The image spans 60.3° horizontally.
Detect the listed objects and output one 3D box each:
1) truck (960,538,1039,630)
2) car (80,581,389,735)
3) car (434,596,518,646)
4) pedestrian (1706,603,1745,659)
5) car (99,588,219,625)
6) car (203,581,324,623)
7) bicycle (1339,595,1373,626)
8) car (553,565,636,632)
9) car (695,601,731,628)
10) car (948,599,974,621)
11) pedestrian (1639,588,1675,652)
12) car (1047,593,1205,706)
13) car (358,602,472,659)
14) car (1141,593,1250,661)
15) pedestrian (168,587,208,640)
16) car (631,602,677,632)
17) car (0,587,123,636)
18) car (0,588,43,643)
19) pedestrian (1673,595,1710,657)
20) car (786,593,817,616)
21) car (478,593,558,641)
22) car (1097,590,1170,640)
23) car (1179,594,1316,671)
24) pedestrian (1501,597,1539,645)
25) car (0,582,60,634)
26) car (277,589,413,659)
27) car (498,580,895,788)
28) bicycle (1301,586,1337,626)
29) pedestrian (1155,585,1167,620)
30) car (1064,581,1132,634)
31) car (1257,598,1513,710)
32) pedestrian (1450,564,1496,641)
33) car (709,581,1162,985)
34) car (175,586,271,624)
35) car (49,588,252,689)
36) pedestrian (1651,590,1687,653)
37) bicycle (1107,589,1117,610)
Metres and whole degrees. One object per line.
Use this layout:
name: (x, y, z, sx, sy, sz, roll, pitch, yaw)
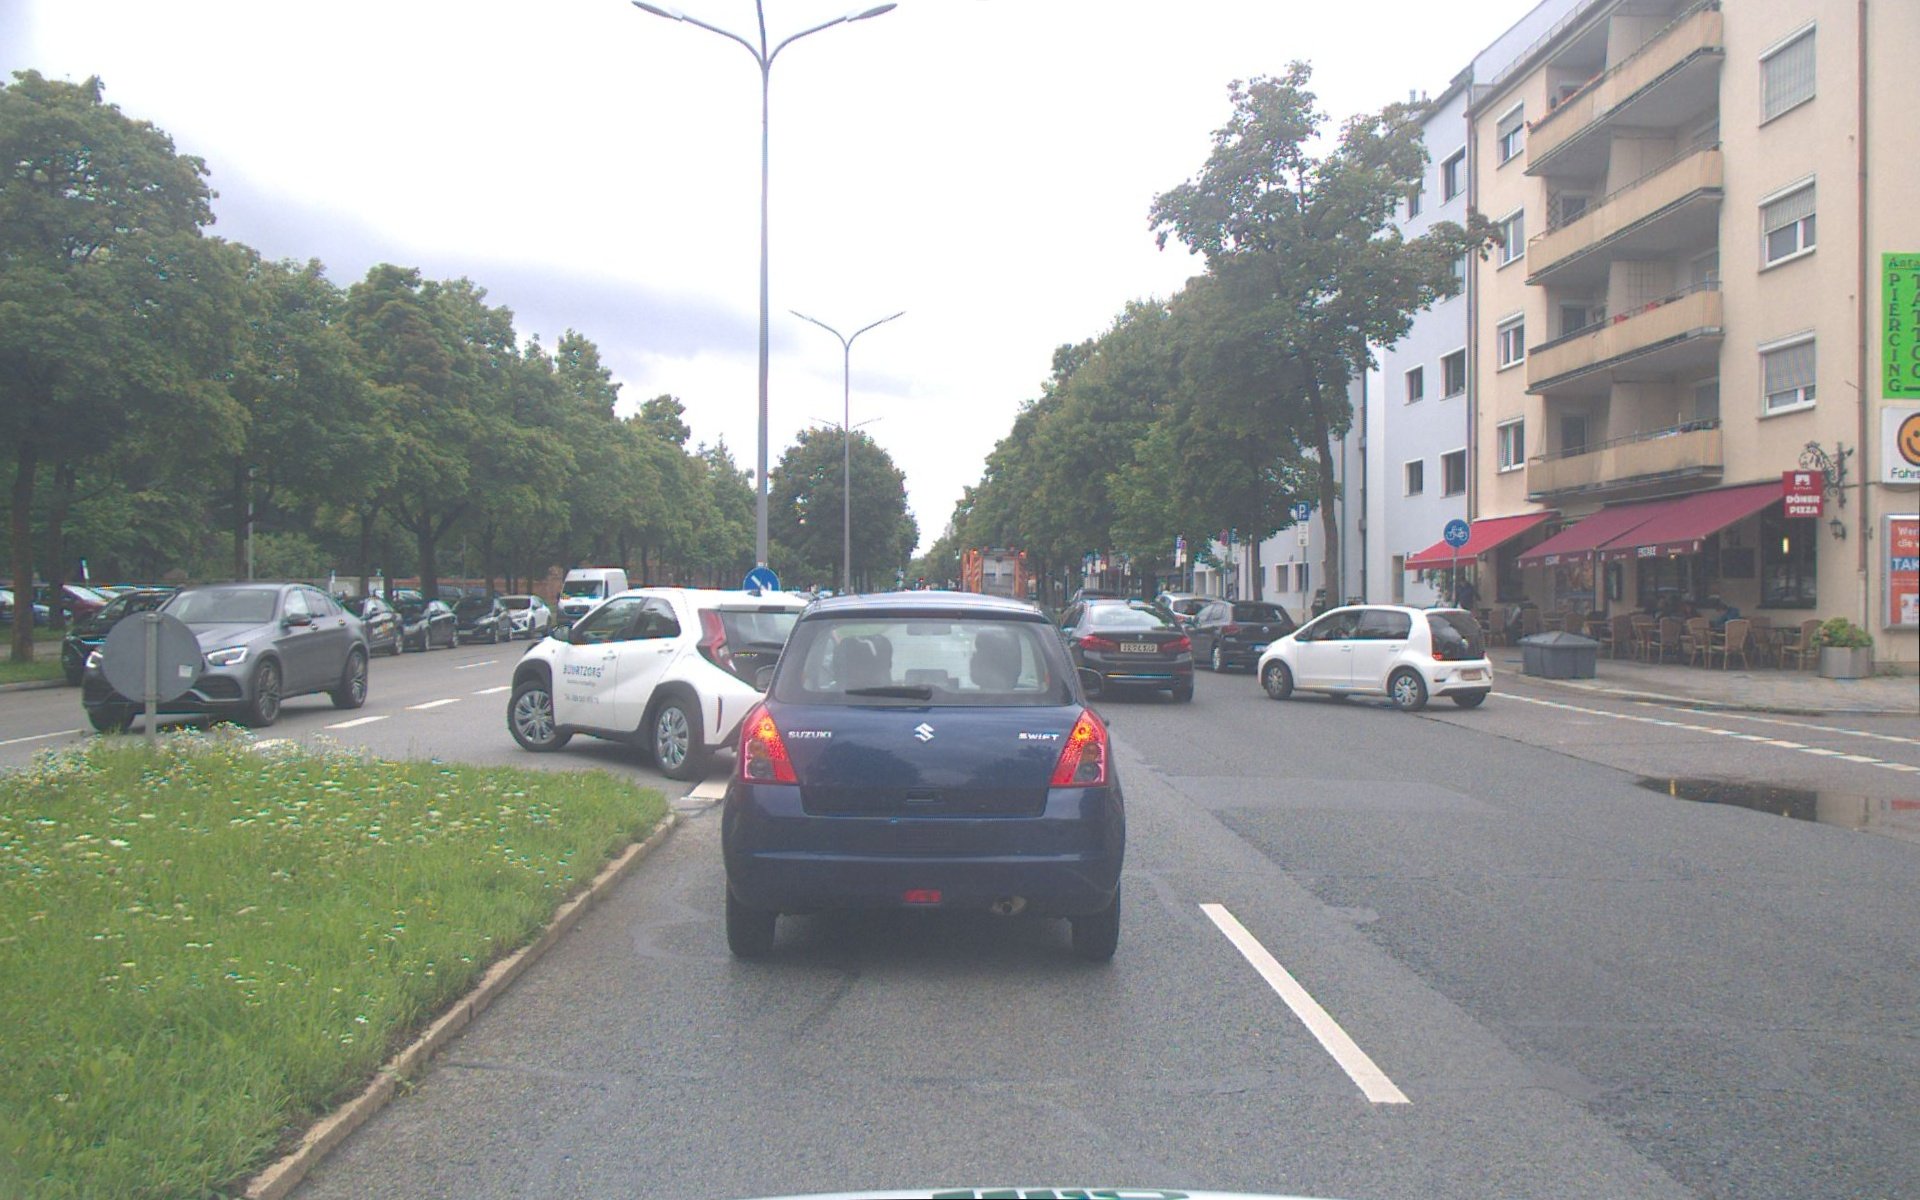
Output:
truck: (1.561, -0.663, 72.376, 2.979, 3.619, 13.672, 0, 0, -1)
car: (-8.457, 0.587, 19.760, 1.784, 1.617, 4.500, 0, 1, -1)
car: (-15.329, 0.623, 52.562, 1.786, 1.473, 3.995, -1, 0, -6)
pedestrian: (14.668, 0.592, 31.691, 0.527, 1.072, 0.487, 0, 0, -1)
car: (-32.360, 0.246, 66.947, 3.911, 1.467, 1.997, 0, 0, -7)
car: (-26.945, 0.090, 64.023, 3.905, 1.598, 1.814, 0, 0, 0)
bicycle: (13.740, 0.352, 57.389, 0.609, 1.065, 2.195, 0, 0, -1)
car: (-15.781, -0.108, 71.791, 2.096, 2.690, 7.104, -1, 1, -1)
car: (-15.940, 0.928, 106.852, 1.849, 1.564, 4.312, -2, 0, -3)
car: (0.034, 0.731, 119.818, 1.792, 1.549, 3.770, 0, 0, -1)
pedestrian: (14.823, 0.418, 35.173, 0.527, 1.362, 0.552, 0, 0, -3)
car: (2.432, 0.672, 25.330, 1.785, 1.503, 4.689, 2, 0, -2)
car: (-15.189, 0.816, 46.273, 1.784, 1.434, 4.000, -2, 0, 1)
car: (5.601, 0.602, 39.852, 1.793, 1.549, 4.521, 0, 0, -3)
pedestrian: (-22.462, 0.374, 48.144, 0.778, 1.521, 0.856, 0, 0, -1)
car: (-16.086, 0.897, 87.225, 1.820, 1.517, 4.140, 0, -1, -3)
car: (-28.105, 0.341, 50.701, 3.911, 1.467, 1.997, 0, 0, -7)
car: (-27.695, 0.394, 45.260, 4.053, 1.467, 1.999, 0, 0, -4)
pedestrian: (14.710, 0.516, 33.254, 0.527, 1.235, 0.487, 0, 0, -1)
car: (-10.889, 0.298, 113.946, 1.779, 1.473, 4.780, -1, 0, -2)
car: (-15.392, 0.592, 57.765, 1.785, 1.554, 4.296, -2, -1, -3)
car: (5.526, 0.465, 53.215, 1.793, 1.549, 3.769, 0, 0, -3)
car: (5.871, 0.627, 34.212, 1.794, 1.498, 3.883, 0, 0, -6)
pedestrian: (13.952, 0.527, 41.224, 0.728, 1.183, 0.646, 0, 0, -2)
car: (-28.426, 0.202, 47.642, 3.911, 1.467, 1.997, 0, 0, -7)
car: (-14.942, 0.556, 40.431, 1.784, 1.627, 4.112, 0, 0, 0)
car: (-2.409, 0.622, 14.517, 1.811, 1.580, 3.666, 0, 0, -41)
bicycle: (13.419, 0.213, 61.868, 0.688, 1.432, 2.592, -2, 0, -1)
pedestrian: (10.304, 0.122, 84.776, 0.489, 1.763, 0.732, -1, 0, -1)
car: (4.768, 0.229, 57.562, 1.793, 1.776, 4.506, 0, 0, -3)
car: (6.235, 0.740, 24.497, 1.675, 1.516, 3.388, 0, 0, -38)
pedestrian: (13.257, 0.058, 42.766, 0.854, 1.963, 0.757, 0, 0, -18)
car: (-0.112, 0.688, 8.299, 1.717, 1.531, 3.999, 0, 0, -1)
car: (-41.275, 0.253, 92.701, 4.415, 2.070, 1.999, 0, 0, -2)
car: (-14.803, 0.685, 30.524, 1.785, 1.729, 4.237, 0, -1, -3)
pedestrian: (14.679, 0.449, 34.239, 0.527, 1.290, 0.486, 0, 0, -3)
bicycle: (10.903, -0.048, 118.503, 0.568, 1.489, 1.688, 0, 0, -1)
